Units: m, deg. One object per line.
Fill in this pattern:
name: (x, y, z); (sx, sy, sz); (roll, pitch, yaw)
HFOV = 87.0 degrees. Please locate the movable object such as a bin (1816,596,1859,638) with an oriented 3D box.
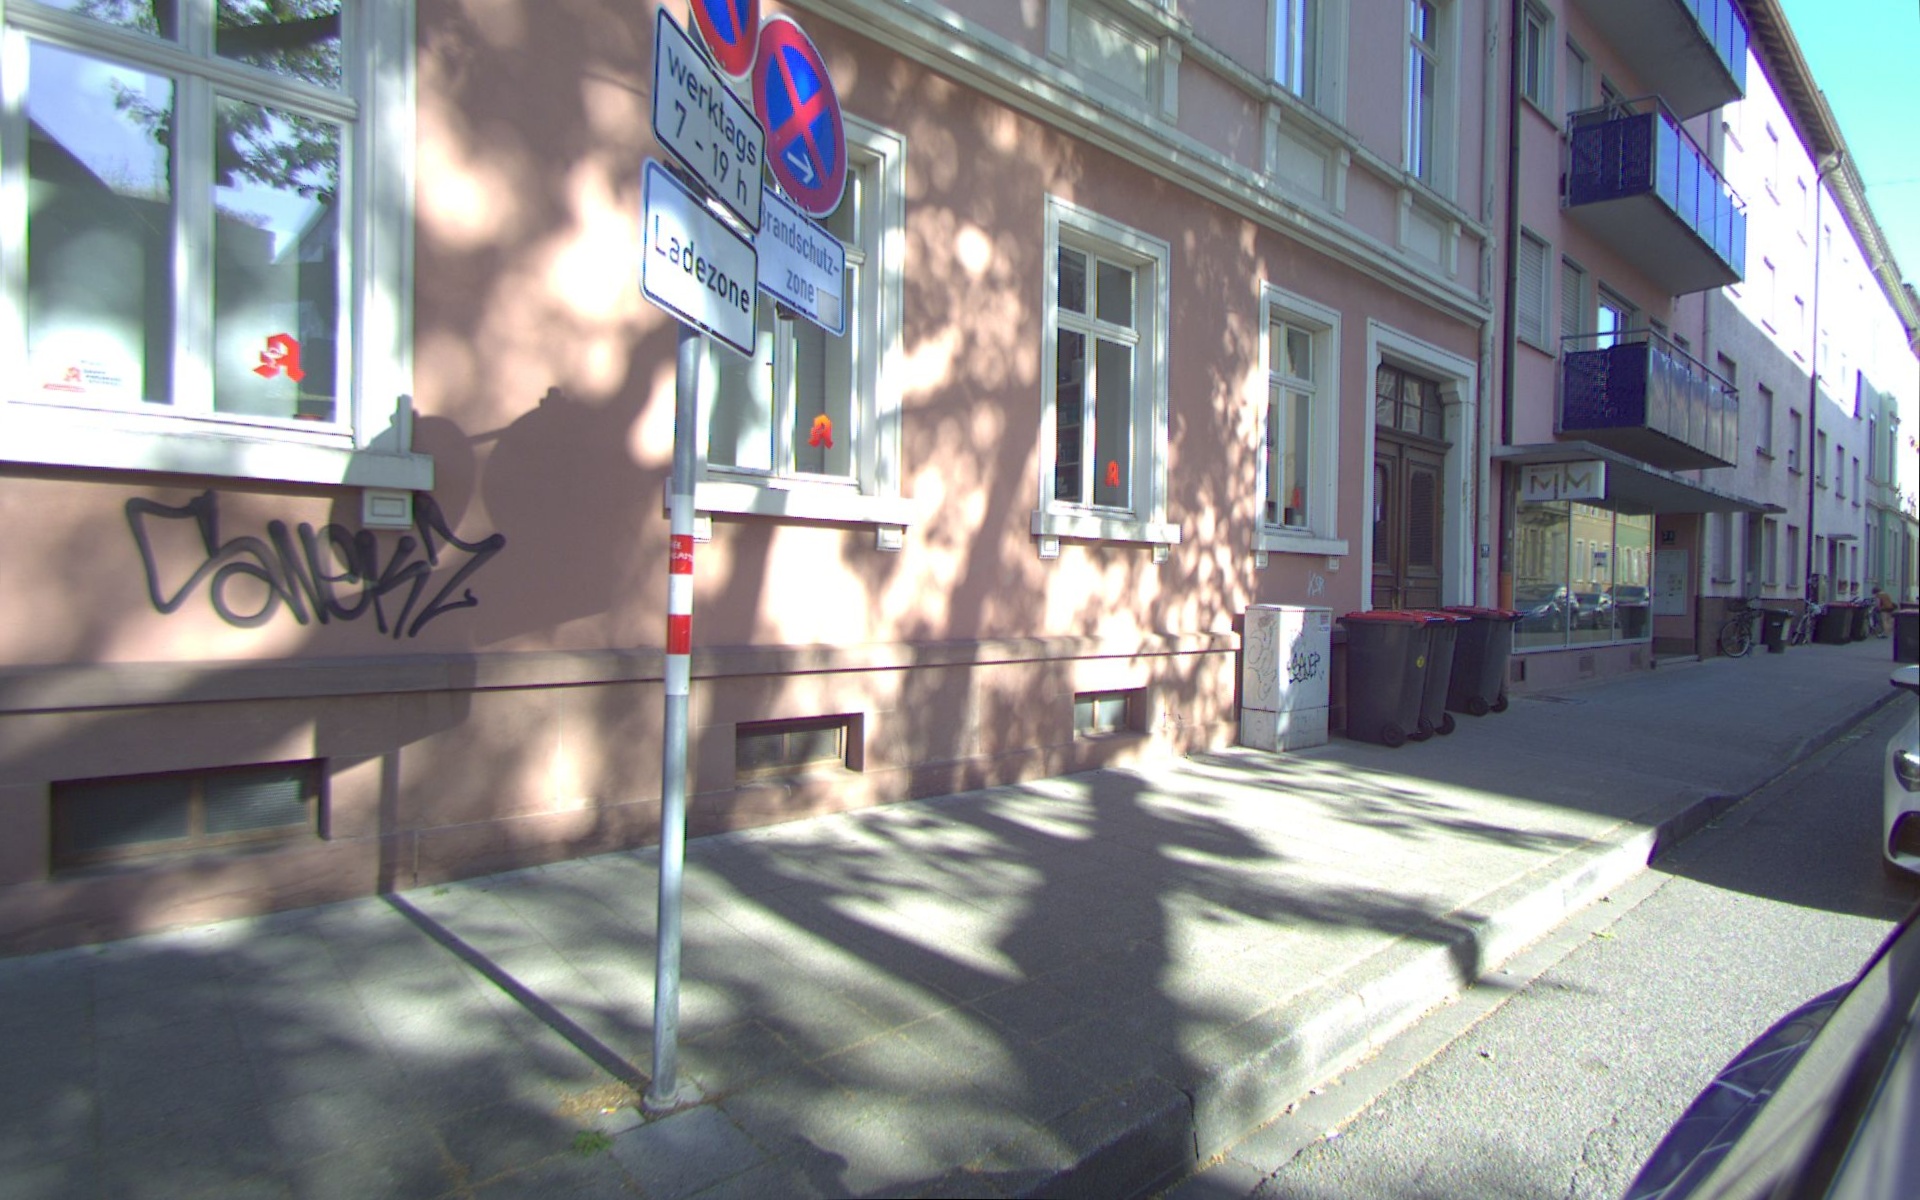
movable object such as a bin: (22.278, 0.425, 25.685); (0.537, 1.014, 0.716); (0, 4, -43)

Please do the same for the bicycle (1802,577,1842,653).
bicycle: (20.941, 0.345, 24.570); (2.070, 1.757, 0.402); (0, 1, -41)

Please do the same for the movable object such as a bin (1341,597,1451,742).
movable object such as a bin: (3.591, 0.542, 8.340); (0.643, 1.097, 0.570); (0, 4, -43)

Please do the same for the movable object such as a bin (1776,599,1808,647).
movable object such as a bin: (17.293, 0.477, 21.043); (0.297, 0.951, 0.415); (0, 4, -43)

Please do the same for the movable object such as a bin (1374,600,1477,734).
movable object such as a bin: (4.036, 0.554, 8.772); (0.601, 1.071, 0.570); (0, 4, -43)

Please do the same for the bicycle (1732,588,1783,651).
bicycle: (15.320, 0.355, 19.427); (1.989, 1.165, 0.402); (0, 1, -41)

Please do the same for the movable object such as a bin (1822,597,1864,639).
movable object such as a bin: (22.730, 0.443, 26.050); (0.537, 1.014, 0.716); (0, 4, -43)

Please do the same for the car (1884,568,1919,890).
car: (6.610, 0.596, 5.490); (4.483, 1.475, 1.861); (0, 1, -41)

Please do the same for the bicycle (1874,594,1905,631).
bicycle: (28.542, 0.371, 31.067); (1.899, 1.109, 0.489); (0, 1, -41)

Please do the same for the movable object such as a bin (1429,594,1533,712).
movable object such as a bin: (5.268, 0.508, 10.235); (0.608, 1.097, 0.717); (0, 4, -43)
